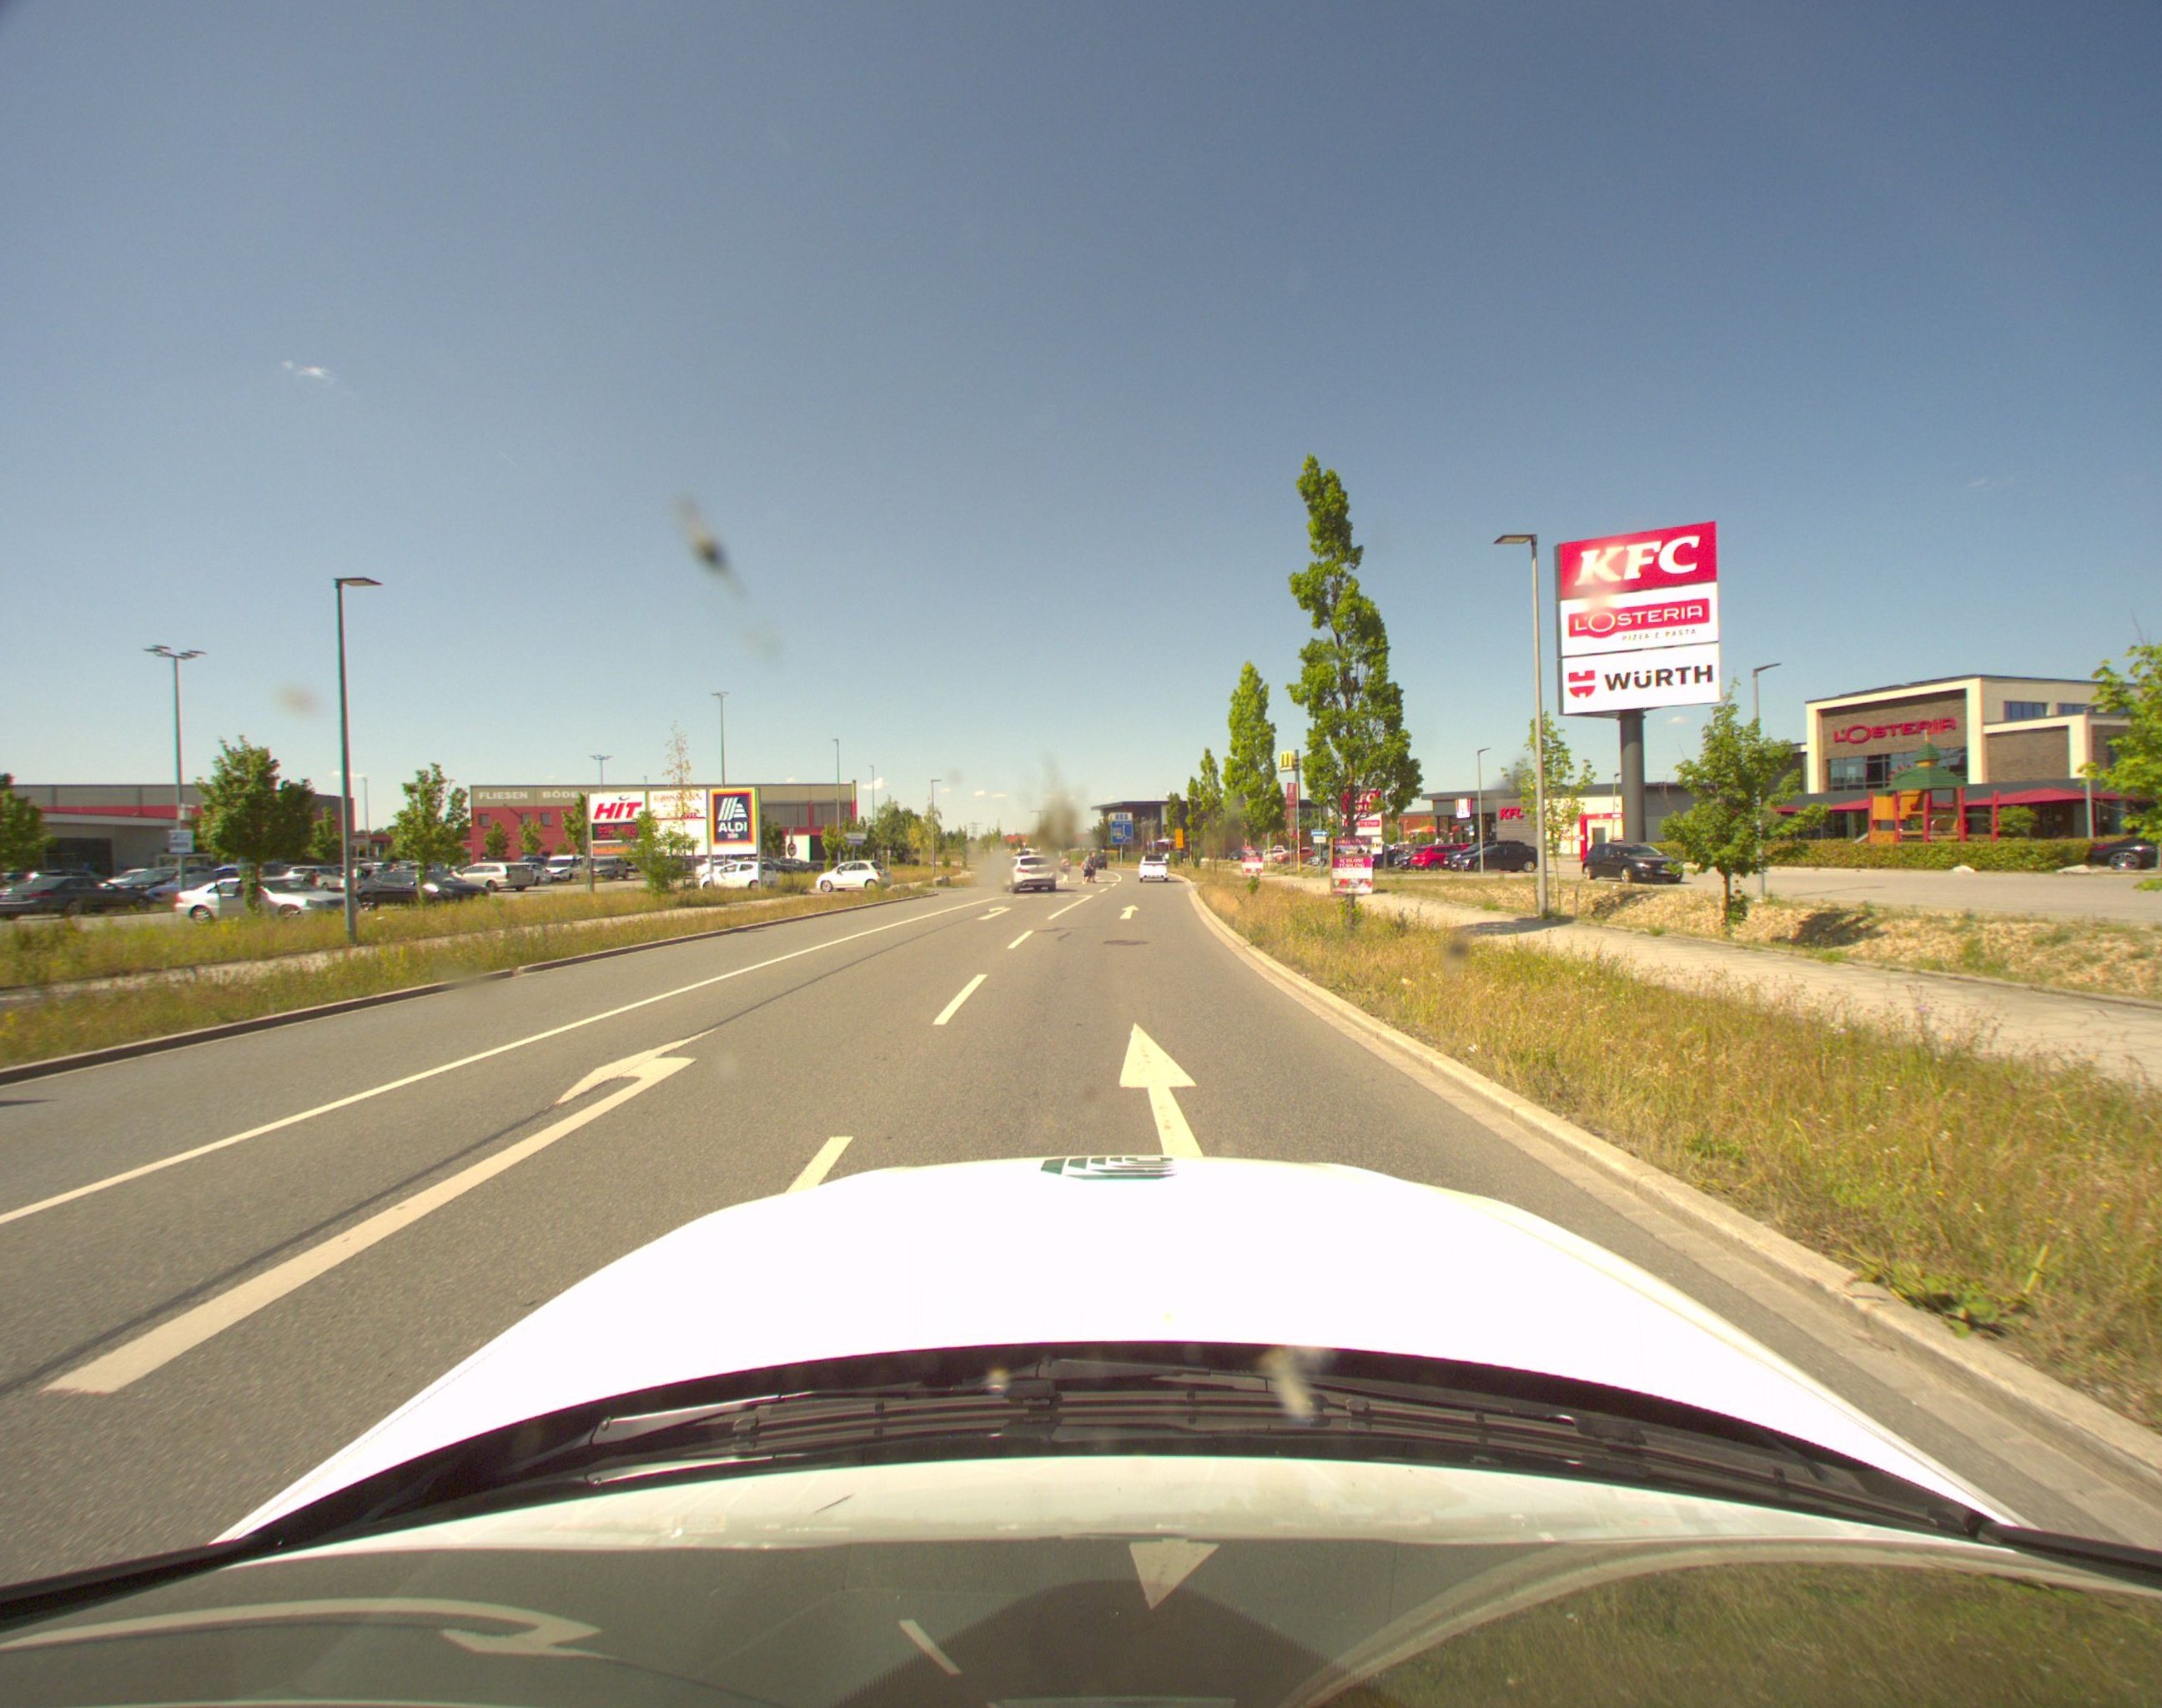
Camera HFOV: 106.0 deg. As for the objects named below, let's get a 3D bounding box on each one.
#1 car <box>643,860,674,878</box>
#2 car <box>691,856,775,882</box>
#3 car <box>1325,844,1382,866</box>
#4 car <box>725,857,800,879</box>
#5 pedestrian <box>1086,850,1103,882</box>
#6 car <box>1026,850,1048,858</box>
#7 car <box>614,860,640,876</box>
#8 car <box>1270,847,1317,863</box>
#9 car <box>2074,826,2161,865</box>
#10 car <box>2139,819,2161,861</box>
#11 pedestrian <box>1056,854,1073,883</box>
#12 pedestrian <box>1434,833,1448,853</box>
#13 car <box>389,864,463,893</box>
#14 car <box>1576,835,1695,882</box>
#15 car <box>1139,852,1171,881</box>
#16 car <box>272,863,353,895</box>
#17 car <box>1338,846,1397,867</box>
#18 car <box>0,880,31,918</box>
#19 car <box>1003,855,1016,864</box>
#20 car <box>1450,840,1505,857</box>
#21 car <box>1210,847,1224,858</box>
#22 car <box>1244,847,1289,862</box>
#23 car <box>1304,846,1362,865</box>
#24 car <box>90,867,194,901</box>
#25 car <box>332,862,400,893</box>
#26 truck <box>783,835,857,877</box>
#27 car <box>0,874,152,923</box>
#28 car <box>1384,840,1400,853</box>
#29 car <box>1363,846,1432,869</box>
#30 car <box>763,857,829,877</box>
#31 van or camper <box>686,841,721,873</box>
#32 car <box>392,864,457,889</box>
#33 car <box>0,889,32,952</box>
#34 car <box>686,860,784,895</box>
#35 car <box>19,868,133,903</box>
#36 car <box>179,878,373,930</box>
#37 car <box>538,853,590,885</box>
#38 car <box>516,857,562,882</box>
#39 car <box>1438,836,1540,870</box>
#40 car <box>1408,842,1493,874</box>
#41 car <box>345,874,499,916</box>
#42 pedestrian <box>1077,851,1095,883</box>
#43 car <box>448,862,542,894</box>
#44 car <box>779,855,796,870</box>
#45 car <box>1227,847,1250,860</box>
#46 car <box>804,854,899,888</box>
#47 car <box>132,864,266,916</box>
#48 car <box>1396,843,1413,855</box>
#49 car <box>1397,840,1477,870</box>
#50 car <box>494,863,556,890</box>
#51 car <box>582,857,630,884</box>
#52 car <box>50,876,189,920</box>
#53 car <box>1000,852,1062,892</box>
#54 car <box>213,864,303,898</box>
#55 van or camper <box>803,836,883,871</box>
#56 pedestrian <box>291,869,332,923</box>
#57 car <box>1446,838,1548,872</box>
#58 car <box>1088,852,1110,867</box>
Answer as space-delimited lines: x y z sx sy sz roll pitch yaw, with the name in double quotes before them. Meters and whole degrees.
"car" -38.668 1.337 74.587 1.837 1.562 4.355 -1 0 -18
"car" -22.505 0.936 52.772 4.594 1.512 1.836 -1 0 -2
"car" 22.851 0.062 68.336 4.144 1.665 1.867 -2 1 -3
"car" -22.603 0.985 57.896 4.563 1.458 1.837 -1 0 -2
"pedestrian" 0.708 0.625 42.705 0.797 1.629 0.806 -1 0 4
"car" -8.700 -0.069 161.177 1.974 1.464 4.026 -1 1 39
"car" -47.600 1.464 85.399 1.666 1.615 4.057 -1 0 -19
"car" 21.561 0.088 82.792 4.205 1.490 1.862 -2 1 -11
"car" 34.902 -0.293 25.815 1.658 1.212 4.098 -1 0 -28
"car" 39.402 -0.513 27.545 1.706 1.471 4.194 -1 0 -28
"pedestrian" -0.836 0.737 42.367 0.789 1.470 0.950 -1 0 4
"pedestrian" 37.217 -1.124 84.180 0.914 2.013 0.887 -2 0 -14
"car" -39.943 1.455 49.782 1.915 1.617 4.358 -1 0 -16
"car" 20.116 0.143 29.765 1.771 1.540 4.175 -1 0 5
"car" 3.986 0.651 44.275 1.609 1.434 3.797 -1 0 4
"car" -45.159 1.408 47.969 1.918 1.726 4.350 -1 0 -21
"car" 23.126 0.188 65.863 4.152 1.449 1.786 -2 1 -9
"car" -45.599 1.916 32.848 1.716 1.575 4.329 -2 0 -17
"car" -12.394 0.945 140.989 1.989 1.440 3.996 -2 0 -3
"car" 37.069 -0.504 76.096 4.567 1.431 1.857 -3 1 -18
"car" 20.816 -0.169 124.848 1.780 1.604 4.015 -2 0 14
"car" 20.547 0.049 90.224 4.526 1.490 1.862 -2 1 -11
"car" 22.559 0.113 72.948 4.550 1.490 1.865 -2 1 -7
"car" -52.496 1.606 45.665 1.918 1.725 4.352 -1 0 -20
"car" -42.532 1.357 48.555 1.921 1.718 4.344 -1 0 -26
"truck" -22.989 0.133 72.107 2.298 3.464 7.527 -1 0 17
"car" -36.400 1.552 29.389 1.716 1.516 4.329 -2 0 -17
"car" 45.117 -1.053 118.121 1.769 1.757 4.194 -2 0 26
"car" 22.327 0.226 57.612 4.370 1.449 1.800 -2 1 18
"car" -22.125 1.003 63.279 4.412 1.383 1.974 -1 0 -2
"van or camper" -40.735 0.325 88.106 2.436 3.271 7.193 -1 0 -17
"car" -44.257 1.470 55.024 1.836 1.582 4.358 -1 0 -16
"car" -25.860 1.541 17.543 4.126 1.348 1.938 -2 0 3
"car" -17.014 1.139 40.115 3.966 1.547 1.921 -1 0 6
"car" -54.897 1.657 44.612 1.918 1.718 4.352 -1 0 -20
"car" -24.658 1.505 25.051 4.126 1.348 1.938 -2 0 3
"car" -35.953 1.014 56.761 1.836 2.065 4.358 -1 0 -16
"car" -44.379 1.246 66.790 1.836 1.994 4.358 -1 0 -16
"car" 23.595 -0.063 47.237 4.968 1.734 1.938 -2 1 -2
"car" 22.767 0.236 50.272 4.387 1.734 1.793 -2 1 3
"car" -24.348 1.492 30.179 4.126 1.348 1.938 -2 0 3
"pedestrian" 0.264 0.642 42.182 0.805 1.628 0.867 -1 0 4
"car" -30.330 1.247 42.179 3.956 1.547 1.848 -1 0 16
"car" -32.791 0.914 90.929 1.666 1.615 4.057 -1 0 -19
"car" 19.486 -0.029 100.677 1.681 1.462 4.194 -2 0 26
"car" -11.085 0.812 39.477 3.962 1.547 1.923 -1 0 10
"car" -38.246 1.477 35.498 1.716 1.985 4.806 -2 0 -17
"car" 43.013 -0.714 108.249 1.769 1.451 4.194 -2 0 26
"car" 23.378 0.042 53.581 4.391 1.734 1.791 -2 1 0
"car" -34.541 1.356 50.685 1.836 1.512 4.358 -1 0 -16
"car" -33.516 1.137 57.561 1.836 1.823 4.358 -1 0 -16
"car" -40.678 1.814 34.626 1.716 1.581 4.329 -2 0 -17
"car" -2.209 0.708 34.632 1.914 1.547 4.206 -1 0 -13
"car" -47.398 1.510 47.048 1.918 1.793 4.352 -1 0 -20
"van or camper" -24.764 -0.075 84.993 7.698 3.468 2.545 -1 0 -12
"pedestrian" -24.896 1.347 26.365 0.761 1.695 0.579 -1 0 4
"car" 22.010 0.038 43.170 4.394 1.566 1.994 -2 1 -2
"car" 1.879 0.582 85.928 1.616 1.434 3.780 -1 0 -9
